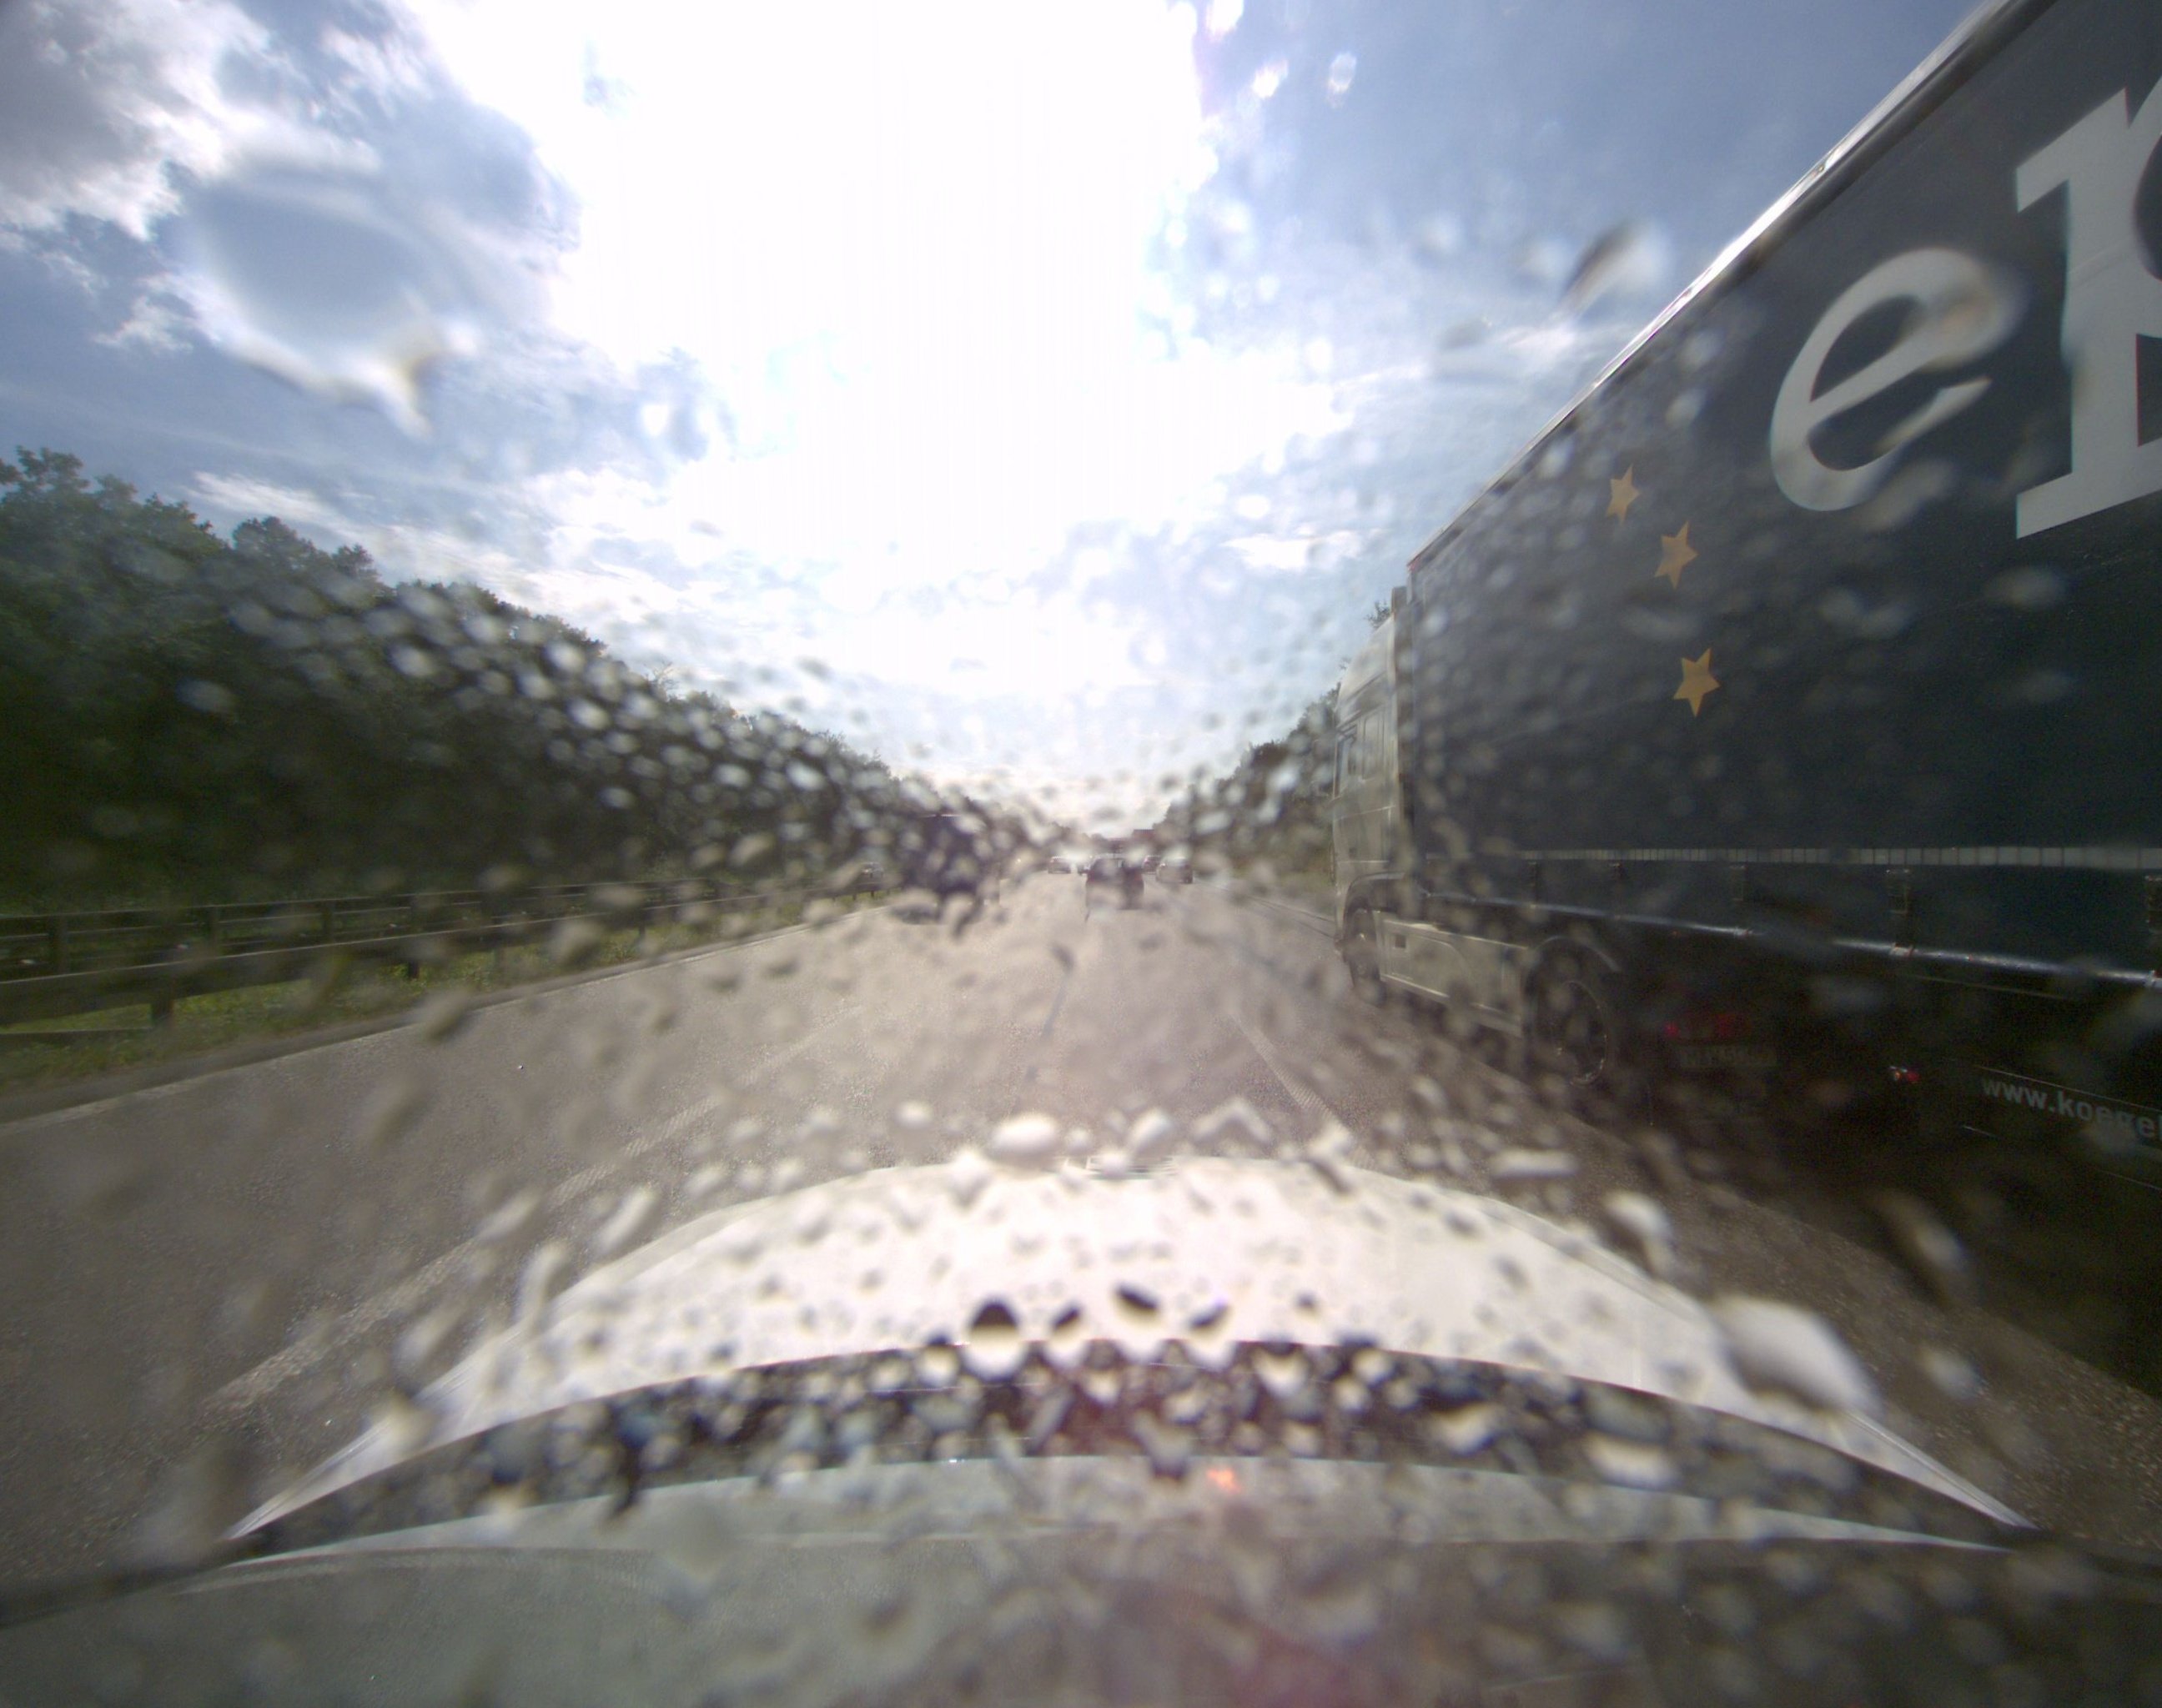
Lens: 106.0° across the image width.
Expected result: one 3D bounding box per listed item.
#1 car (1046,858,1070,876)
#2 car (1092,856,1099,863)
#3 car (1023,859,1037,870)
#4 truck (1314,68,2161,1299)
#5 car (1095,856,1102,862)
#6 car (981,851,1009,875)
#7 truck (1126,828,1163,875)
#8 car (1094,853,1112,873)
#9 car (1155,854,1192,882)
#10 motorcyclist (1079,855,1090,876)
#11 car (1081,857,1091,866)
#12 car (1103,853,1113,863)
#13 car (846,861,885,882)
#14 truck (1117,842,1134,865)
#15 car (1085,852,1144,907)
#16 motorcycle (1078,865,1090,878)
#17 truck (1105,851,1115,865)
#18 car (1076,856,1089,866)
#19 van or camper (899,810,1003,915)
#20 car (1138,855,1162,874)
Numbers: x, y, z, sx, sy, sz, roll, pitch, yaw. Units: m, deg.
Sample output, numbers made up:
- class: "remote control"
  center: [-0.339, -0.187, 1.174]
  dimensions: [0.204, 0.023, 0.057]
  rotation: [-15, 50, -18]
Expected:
- class: "car"
  center: [-2.013, 1.119, 72.327]
  dimensions: [1.848, 1.551, 3.485]
  rotation: [0, 0, 1]
- class: "car"
  center: [3.043, 1.136, 172.795]
  dimensions: [1.479, 1.390, 3.199]
  rotation: [0, 0, 1]
- class: "car"
  center: [-8.572, 1.745, 137.074]
  dimensions: [1.831, 1.663, 4.442]
  rotation: [0, 0, 1]
- class: "truck"
  center: [4.029, -0.549, 6.271]
  dimensions: [2.597, 3.996, 7.293]
  rotation: [-1, -1, 2]
- class: "car"
  center: [5.197, 1.538, 240.062]
  dimensions: [1.986, 1.701, 4.002]
  rotation: [-2, 0, 2]
- class: "car"
  center: [-9.038, 0.914, 85.776]
  dimensions: [2.175, 2.452, 5.749]
  rotation: [0, 0, 1]
- class: "truck"
  center: [6.900, -0.179, 90.854]
  dimensions: [3.634, 4.720, 16.792]
  rotation: [0, 0, 3]
- class: "car"
  center: [1.890, 0.779, 70.491]
  dimensions: [1.526, 1.746, 3.485]
  rotation: [0, 0, 1]
- class: "car"
  center: [5.094, 0.757, 45.218]
  dimensions: [1.686, 1.425, 4.221]
  rotation: [0, 0, 1]
- class: "motorcyclist"
  center: [0.252, 0.904, 63.163]
  dimensions: [0.799, 1.633, 1.013]
  rotation: [0, -1, 1]
- class: "car"
  center: [0.944, 1.353, 144.854]
  dimensions: [1.745, 1.457, 3.390]
  rotation: [0, 0, 1]
- class: "car"
  center: [3.973, 0.564, 120.103]
  dimensions: [1.547, 1.383, 3.211]
  rotation: [0, 0, 1]
- class: "car"
  center: [-17.831, 1.419, 67.619]
  dimensions: [1.822, 1.663, 4.632]
  rotation: [0, 0, 1]
- class: "truck"
  center: [9.118, -0.076, 166.705]
  dimensions: [3.242, 4.479, 12.431]
  rotation: [0, 0, 3]
- class: "car"
  center: [1.021, 0.755, 25.478]
  dimensions: [1.711, 1.568, 3.485]
  rotation: [0, 0, 1]
- class: "motorcycle"
  center: [0.241, 1.353, 63.203]
  dimensions: [0.887, 1.000, 2.897]
  rotation: [0, 0, 2]
- class: "truck"
  center: [6.311, 0.858, 179.059]
  dimensions: [2.184, 2.875, 4.851]
  rotation: [0, -1, 1]
- class: "car"
  center: [0.199, 1.039, 120.162]
  dimensions: [1.745, 1.457, 3.390]
  rotation: [0, 0, 1]
- class: "van or camper"
  center: [-3.571, 0.238, 23.524]
  dimensions: [1.986, 2.669, 5.386]
  rotation: [0, 0, 1]
- class: "car"
  center: [5.587, 0.836, 66.067]
  dimensions: [1.674, 1.442, 3.906]
  rotation: [0, 0, 1]
